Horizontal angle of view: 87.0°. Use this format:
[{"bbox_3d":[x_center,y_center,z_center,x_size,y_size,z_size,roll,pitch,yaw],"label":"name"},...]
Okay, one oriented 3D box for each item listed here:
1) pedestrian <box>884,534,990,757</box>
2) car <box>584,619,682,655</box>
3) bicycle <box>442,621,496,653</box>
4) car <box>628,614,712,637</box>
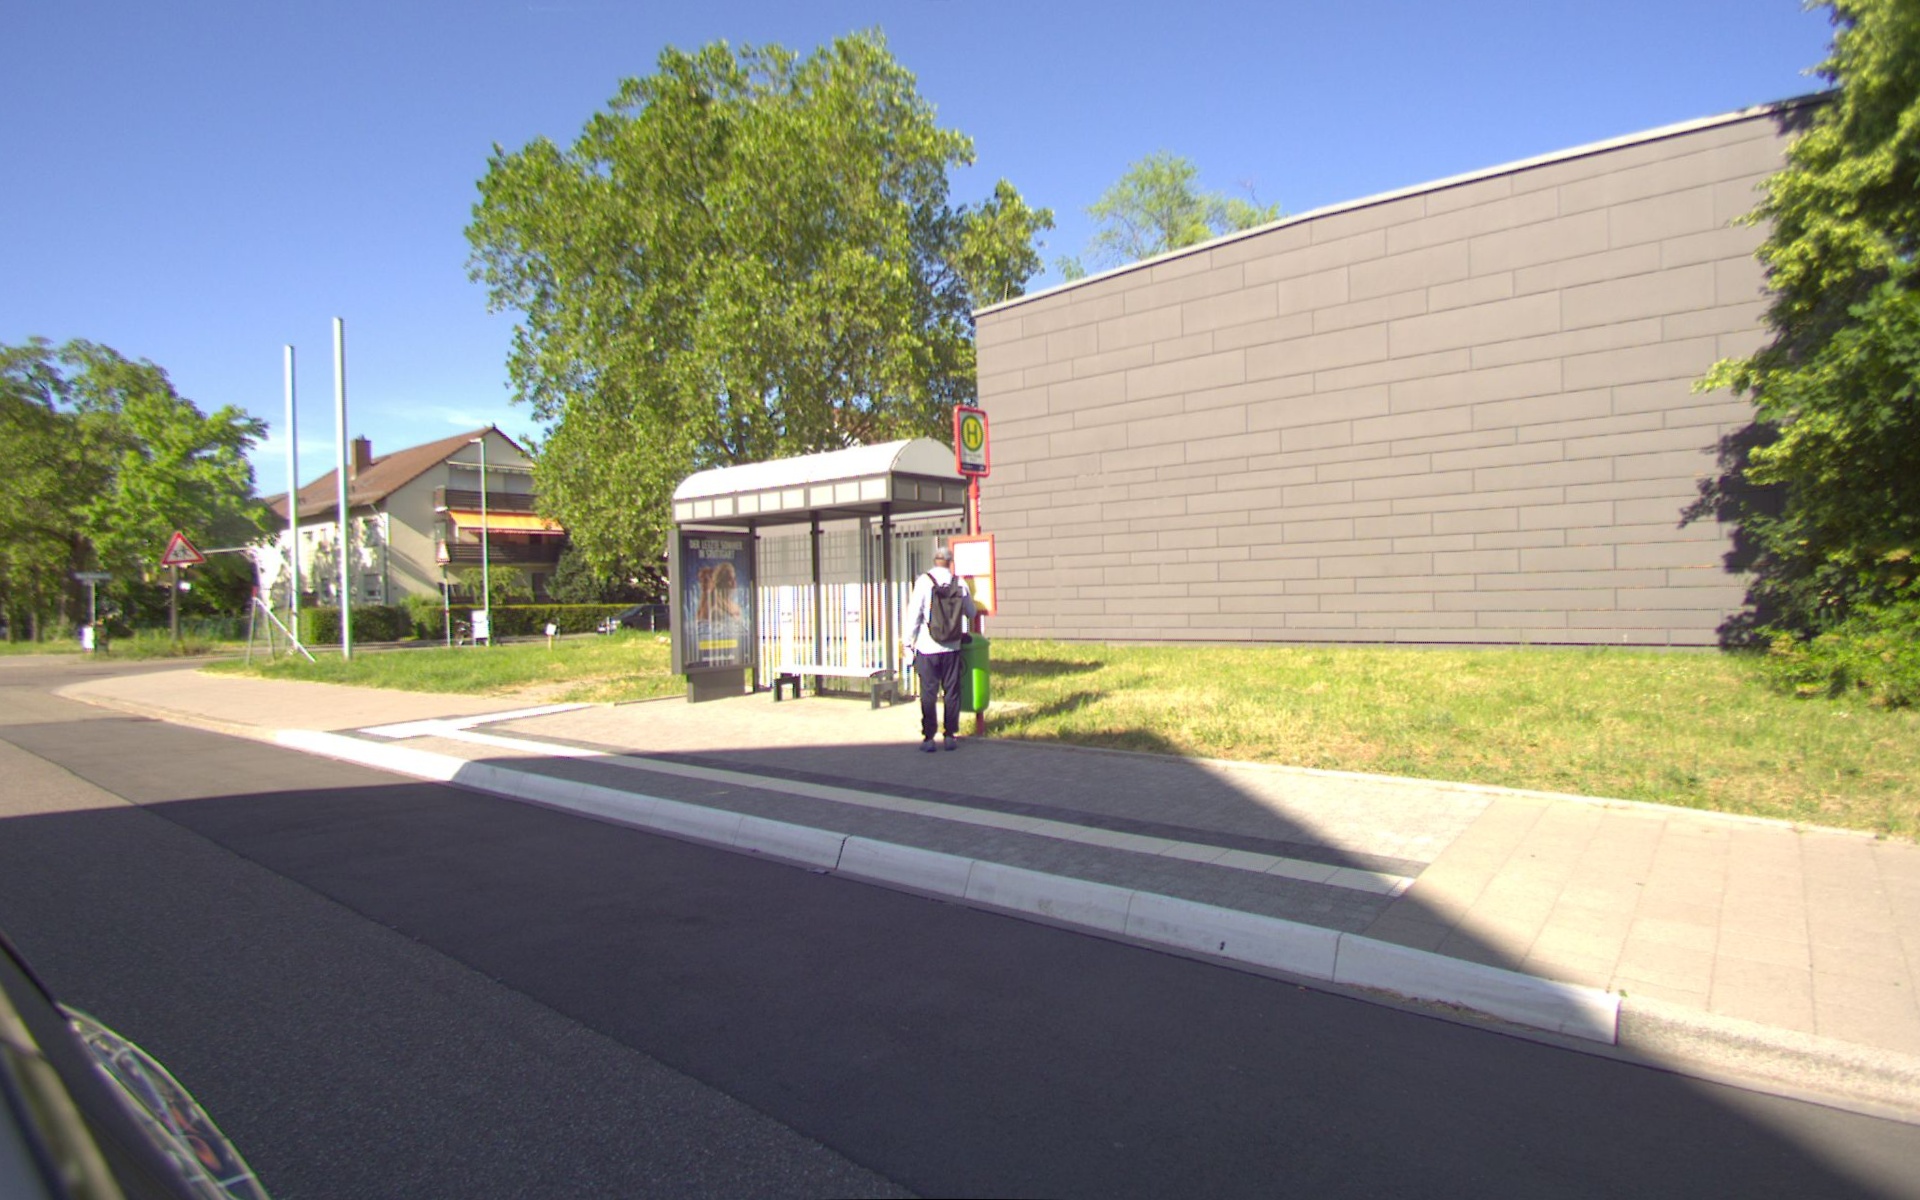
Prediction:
[{"bbox_3d":[-0.213,0.369,8.800,0.706,1.816,0.772,-3,1,-10],"label":"pedestrian"},{"bbox_3d":[-15.843,1.770,49.148,2.113,1.468,4.057,0,1,38],"label":"car"},{"bbox_3d":[-16.872,1.262,34.762,1.574,0.992,0.501,-2,-1,-35],"label":"bicycle"},{"bbox_3d":[-15.200,1.334,53.209,1.631,1.039,3.965,-2,0,44],"label":"car"}]
